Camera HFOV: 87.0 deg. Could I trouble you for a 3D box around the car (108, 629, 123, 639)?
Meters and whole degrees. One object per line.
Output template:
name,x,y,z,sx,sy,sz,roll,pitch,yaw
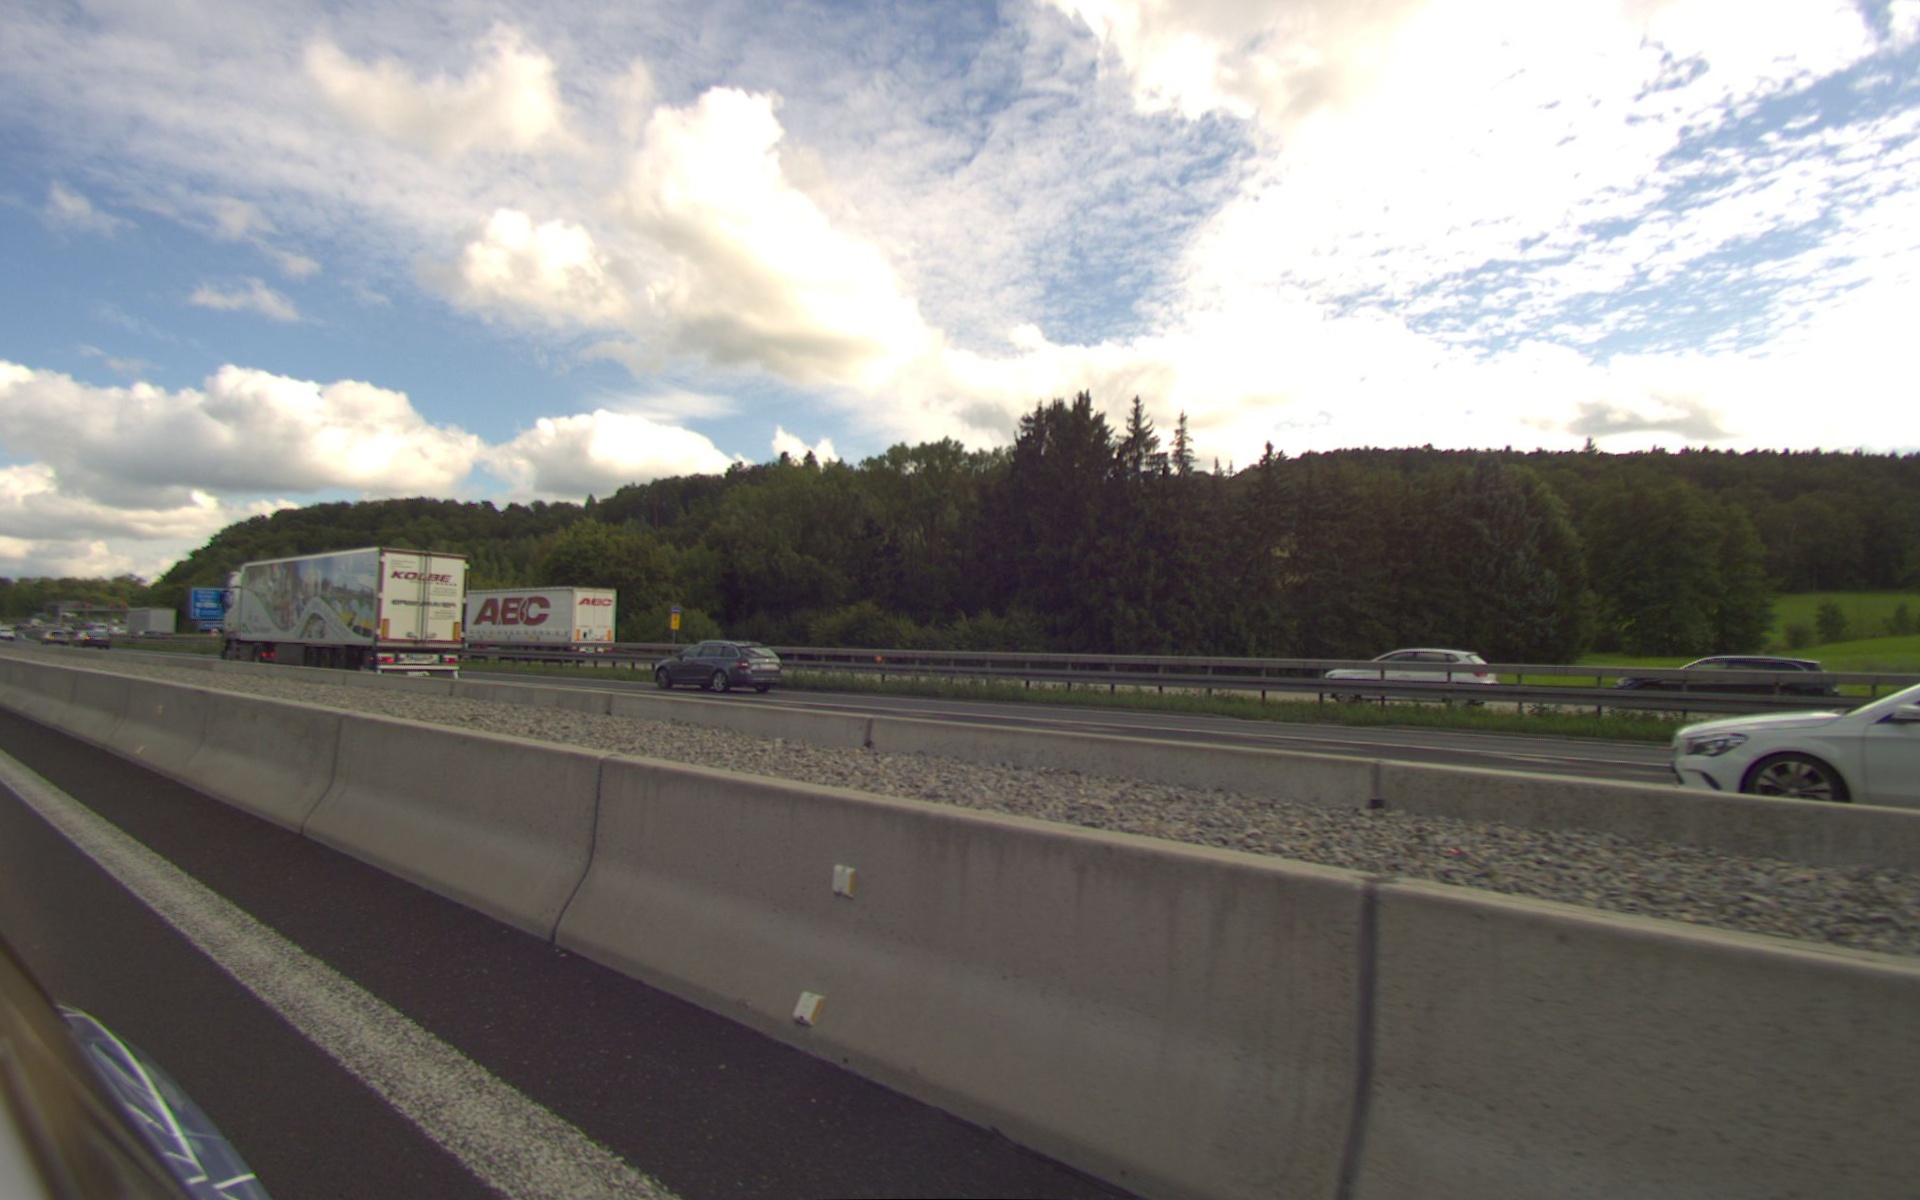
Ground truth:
car,-167.511,6.788,200.726,2.141,1.937,5.163,3,-3,-42

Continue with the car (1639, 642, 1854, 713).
car,20.392,1.954,26.383,4.300,1.630,1.782,-1,-3,41

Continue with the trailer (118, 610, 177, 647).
trailer,-97.642,3.391,121.539,13.380,4.125,3.118,-1,-3,41

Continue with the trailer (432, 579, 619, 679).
trailer,-25.413,1.665,58.557,14.697,5.200,3.079,-1,-3,38

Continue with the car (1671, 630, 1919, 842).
car,8.782,1.089,8.004,5.000,1.630,1.972,-1,-3,41

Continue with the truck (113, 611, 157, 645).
truck,-103.127,3.474,126.416,6.284,4.097,3.119,-1,-3,41

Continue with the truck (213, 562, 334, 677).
truck,-26.650,0.796,39.224,5.296,4.160,2.462,-1,-3,41

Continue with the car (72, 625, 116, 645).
car,-70.086,2.797,81.886,5.304,1.506,1.922,-1,-3,41

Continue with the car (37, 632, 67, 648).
car,-91.249,3.994,101.695,4.994,1.506,1.628,-1,-3,41

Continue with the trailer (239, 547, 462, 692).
trailer,-21.064,0.685,34.338,13.277,4.160,2.462,-1,-3,41

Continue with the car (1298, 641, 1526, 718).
car,10.915,1.869,24.644,4.706,1.630,1.972,-1,-3,41

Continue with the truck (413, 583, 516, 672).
truck,-30.709,1.716,62.639,6.619,5.181,2.997,-1,-3,38

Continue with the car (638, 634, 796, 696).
car,-7.229,1.869,29.799,5.000,1.630,1.972,-1,-3,41

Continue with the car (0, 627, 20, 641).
car,-119.070,4.255,126.545,4.753,1.643,1.779,-1,-3,43
